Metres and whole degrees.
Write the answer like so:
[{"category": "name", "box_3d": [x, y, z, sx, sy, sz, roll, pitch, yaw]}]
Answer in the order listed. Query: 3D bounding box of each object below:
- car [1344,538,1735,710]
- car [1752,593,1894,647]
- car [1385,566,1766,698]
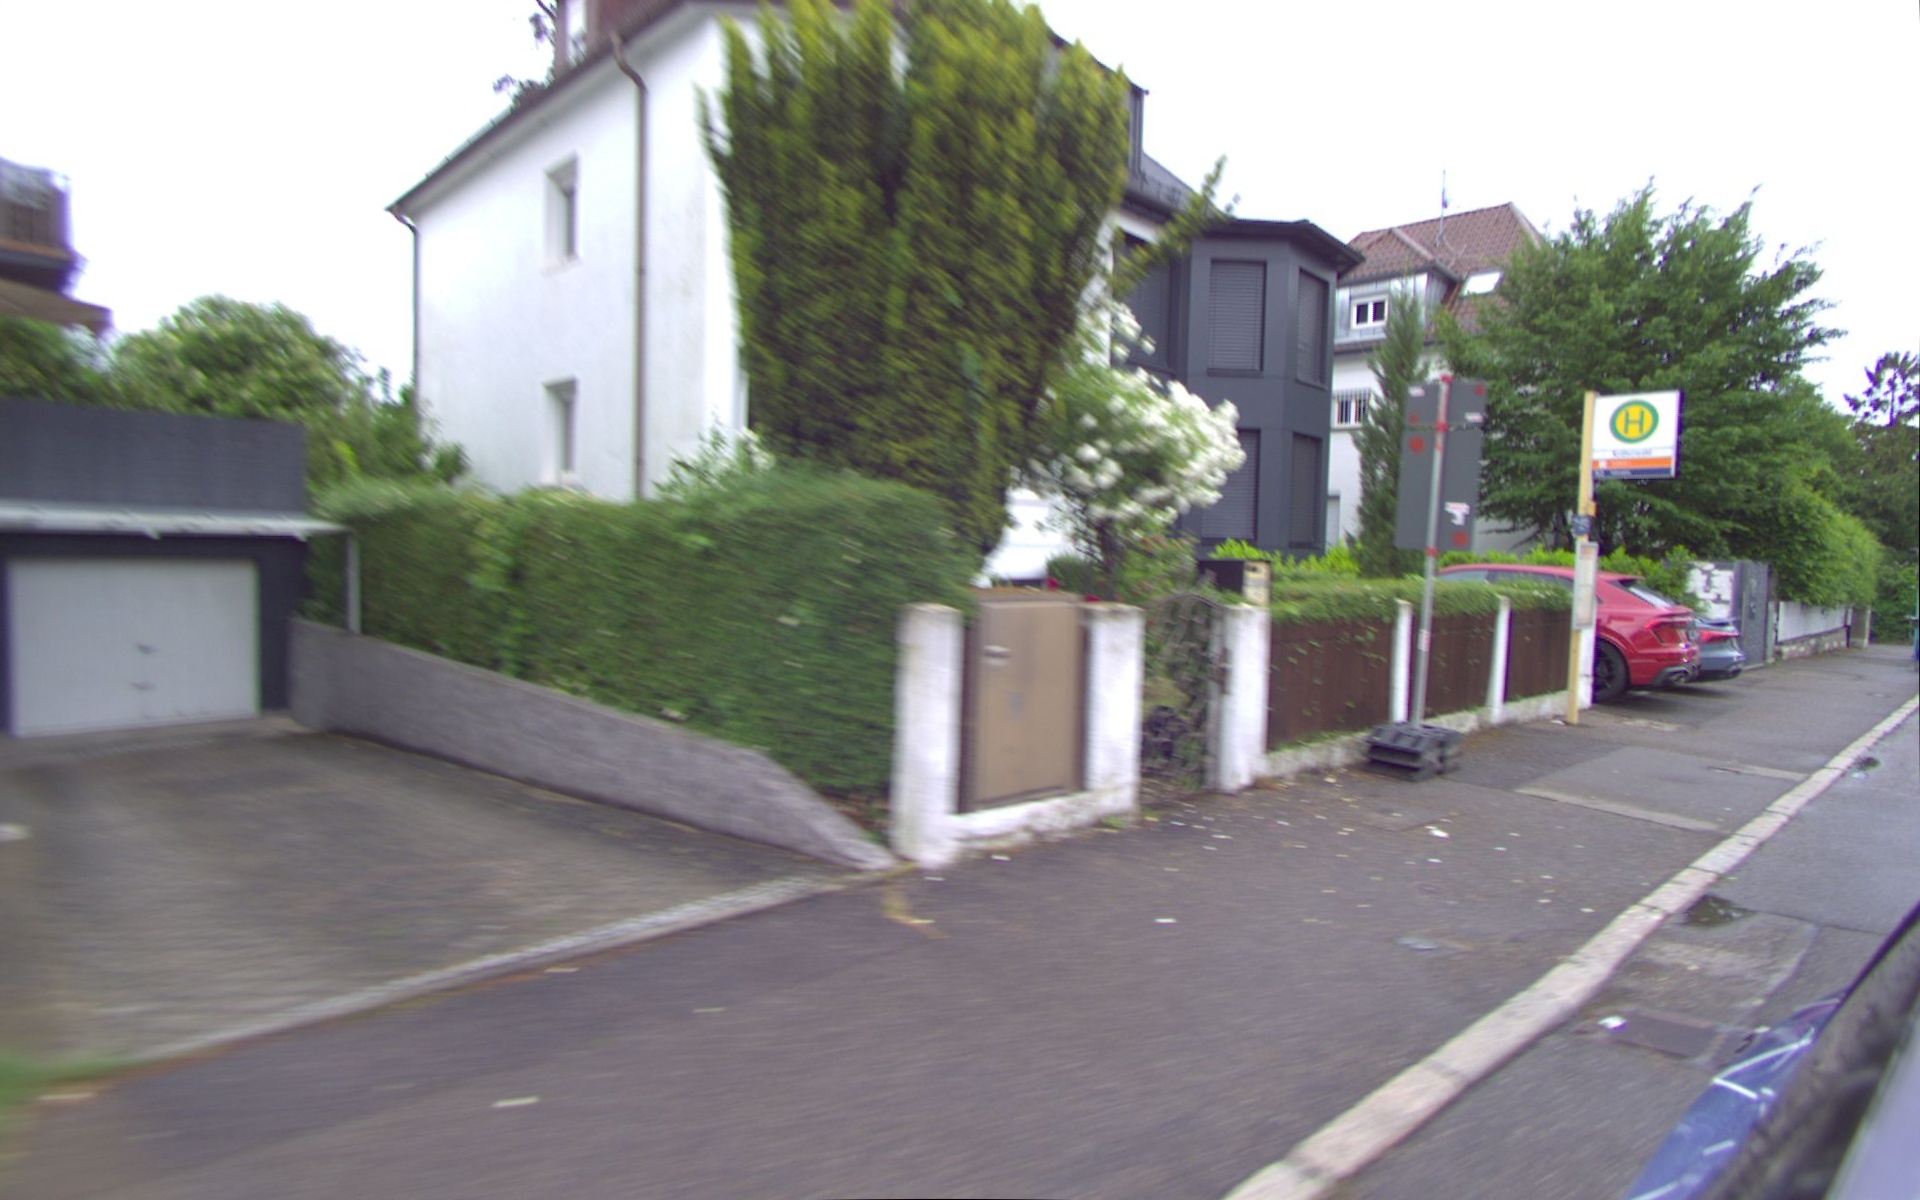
[{"category": "car", "box_3d": [7.535, 0.185, 13.401, 4.075, 1.771, 1.969, 6, 4, 43]}, {"category": "car", "box_3d": [33.670, 0.734, 39.564, 1.741, 1.883, 3.993, 0, 2, -42]}, {"category": "car", "box_3d": [9.105, 0.362, 15.232, 4.549, 1.433, 1.969, 6, 4, 43]}]
